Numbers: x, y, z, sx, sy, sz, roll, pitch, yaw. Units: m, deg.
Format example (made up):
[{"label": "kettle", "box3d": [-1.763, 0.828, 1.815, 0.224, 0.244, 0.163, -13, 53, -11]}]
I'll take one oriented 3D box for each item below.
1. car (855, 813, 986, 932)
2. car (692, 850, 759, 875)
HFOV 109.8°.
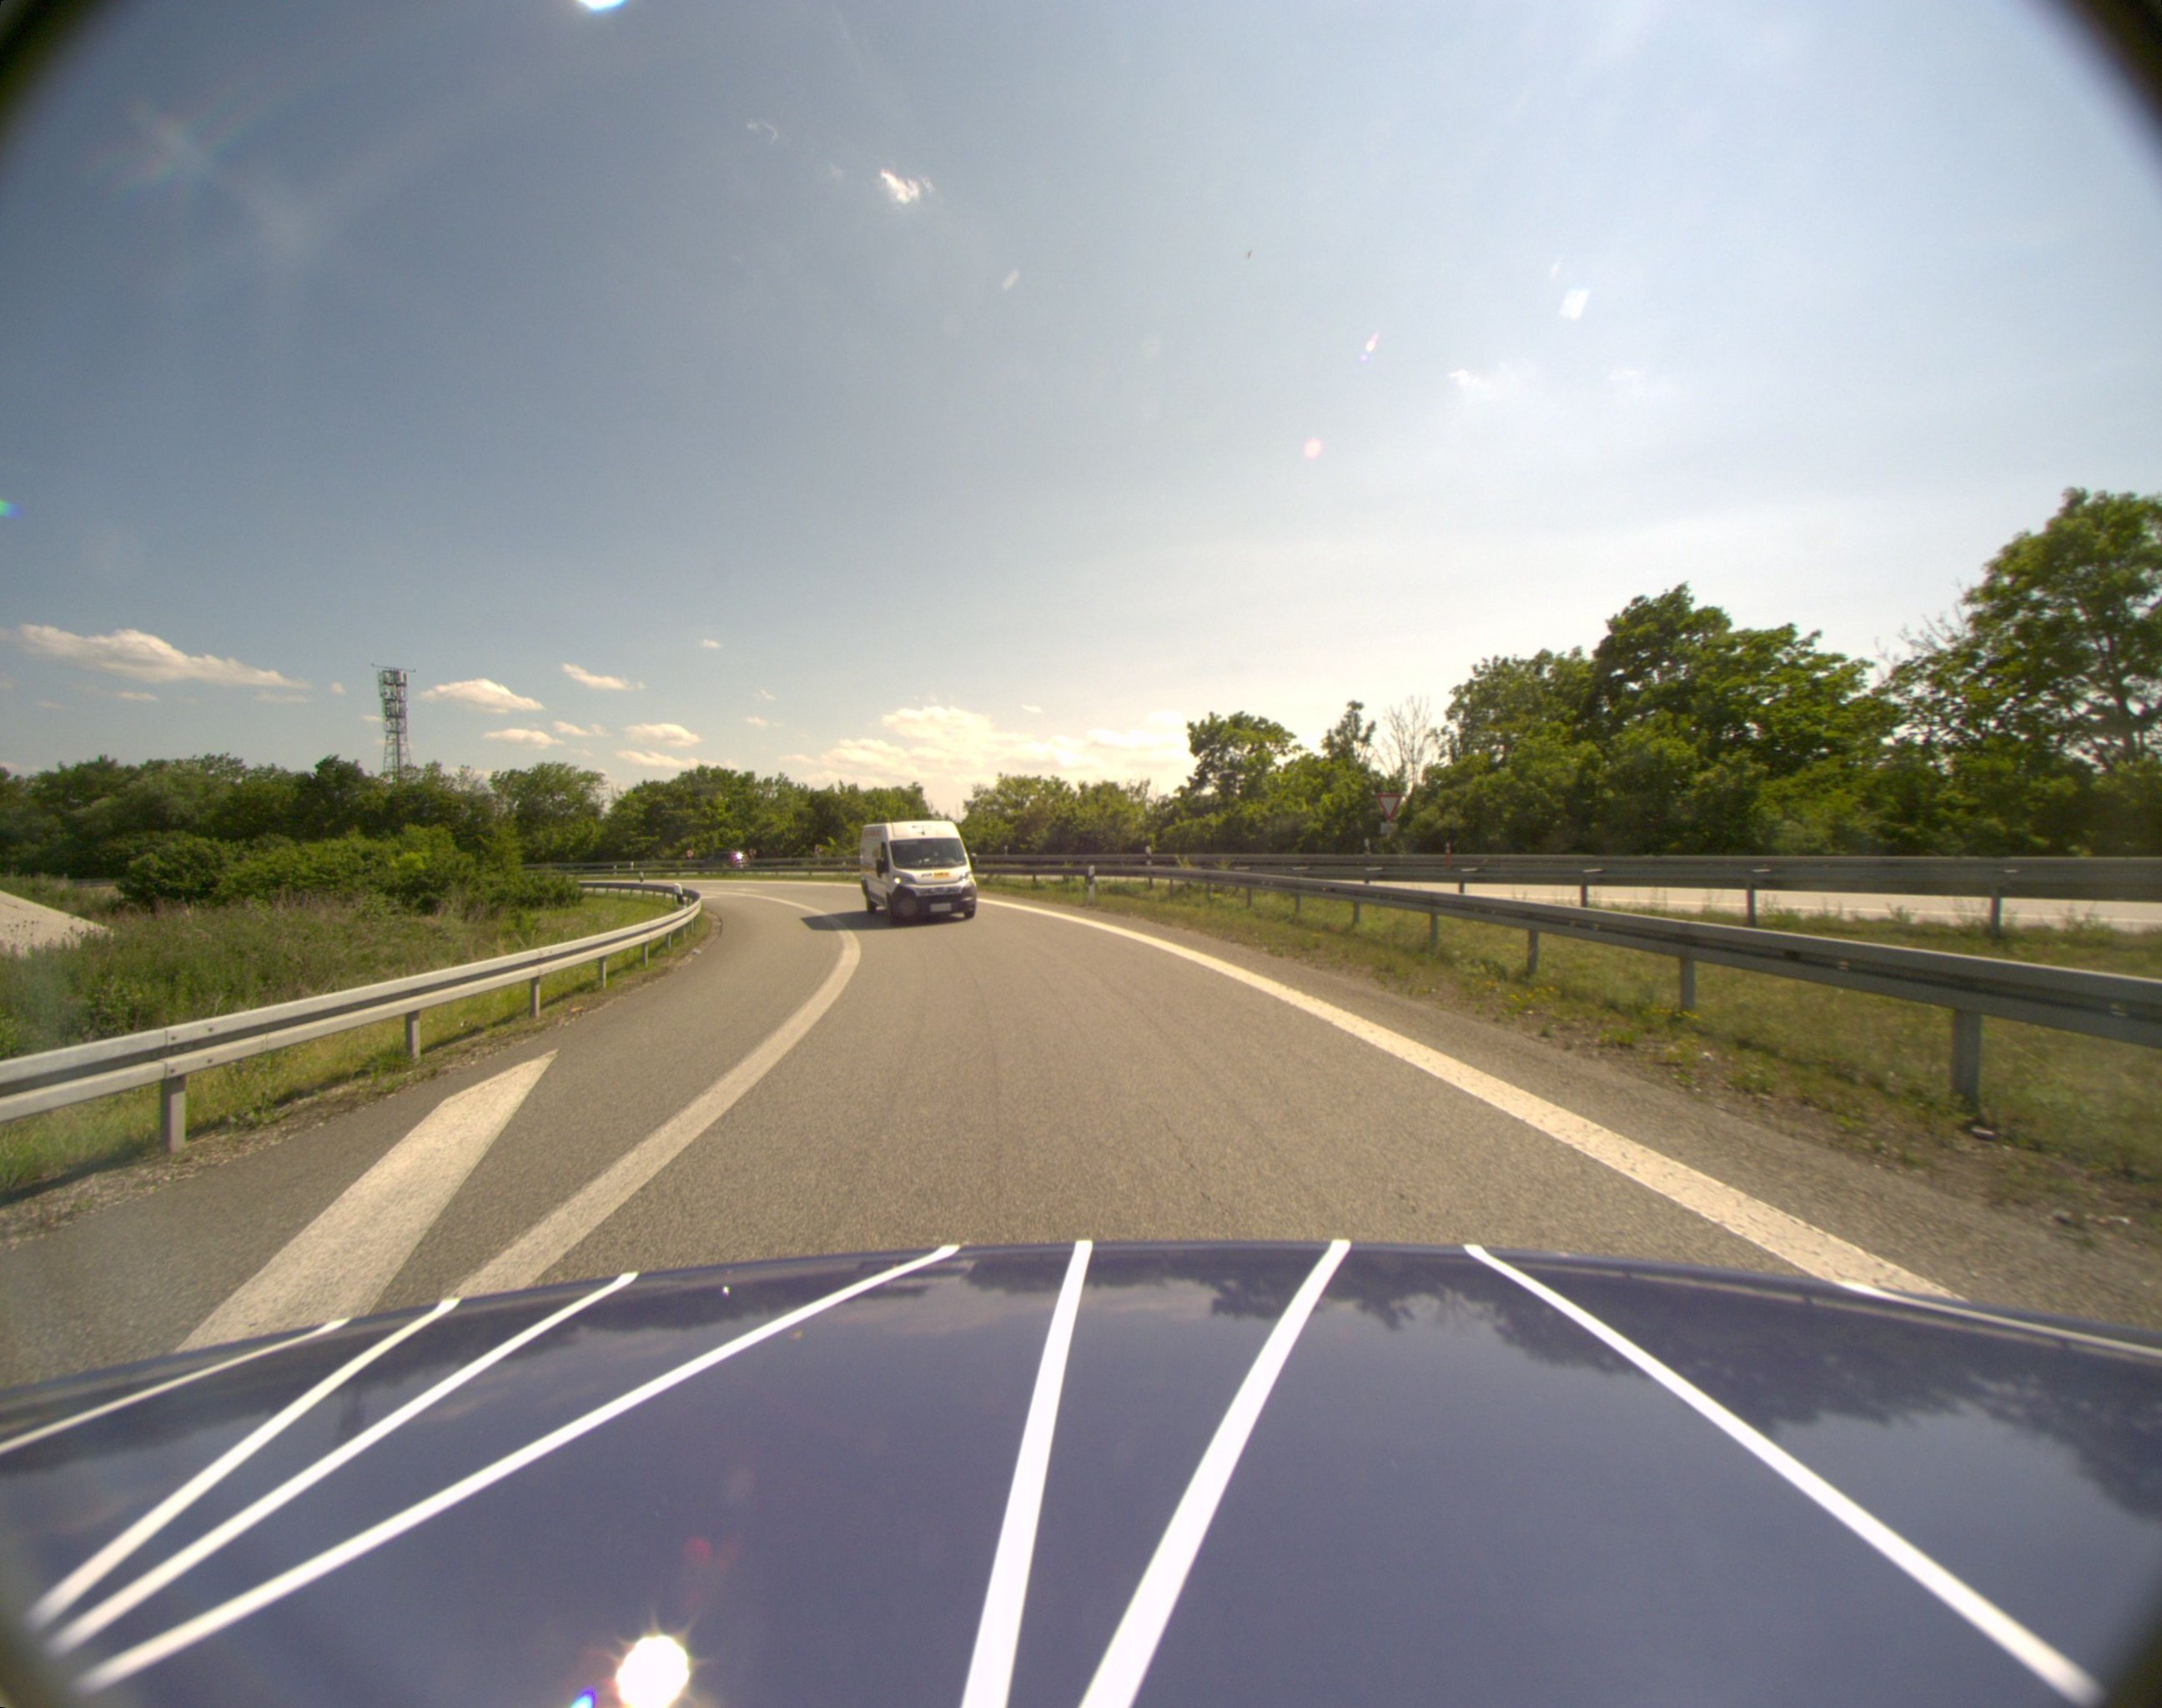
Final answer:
[{"label": "car", "box3d": [-4.449, 0.402, 20.121, 2.090, 2.510, 6.225, -5, 2, -22]}, {"label": "car", "box3d": [-28.029, 0.676, 59.830, 5.184, 1.721, 2.003, -2, 2, 29]}]
